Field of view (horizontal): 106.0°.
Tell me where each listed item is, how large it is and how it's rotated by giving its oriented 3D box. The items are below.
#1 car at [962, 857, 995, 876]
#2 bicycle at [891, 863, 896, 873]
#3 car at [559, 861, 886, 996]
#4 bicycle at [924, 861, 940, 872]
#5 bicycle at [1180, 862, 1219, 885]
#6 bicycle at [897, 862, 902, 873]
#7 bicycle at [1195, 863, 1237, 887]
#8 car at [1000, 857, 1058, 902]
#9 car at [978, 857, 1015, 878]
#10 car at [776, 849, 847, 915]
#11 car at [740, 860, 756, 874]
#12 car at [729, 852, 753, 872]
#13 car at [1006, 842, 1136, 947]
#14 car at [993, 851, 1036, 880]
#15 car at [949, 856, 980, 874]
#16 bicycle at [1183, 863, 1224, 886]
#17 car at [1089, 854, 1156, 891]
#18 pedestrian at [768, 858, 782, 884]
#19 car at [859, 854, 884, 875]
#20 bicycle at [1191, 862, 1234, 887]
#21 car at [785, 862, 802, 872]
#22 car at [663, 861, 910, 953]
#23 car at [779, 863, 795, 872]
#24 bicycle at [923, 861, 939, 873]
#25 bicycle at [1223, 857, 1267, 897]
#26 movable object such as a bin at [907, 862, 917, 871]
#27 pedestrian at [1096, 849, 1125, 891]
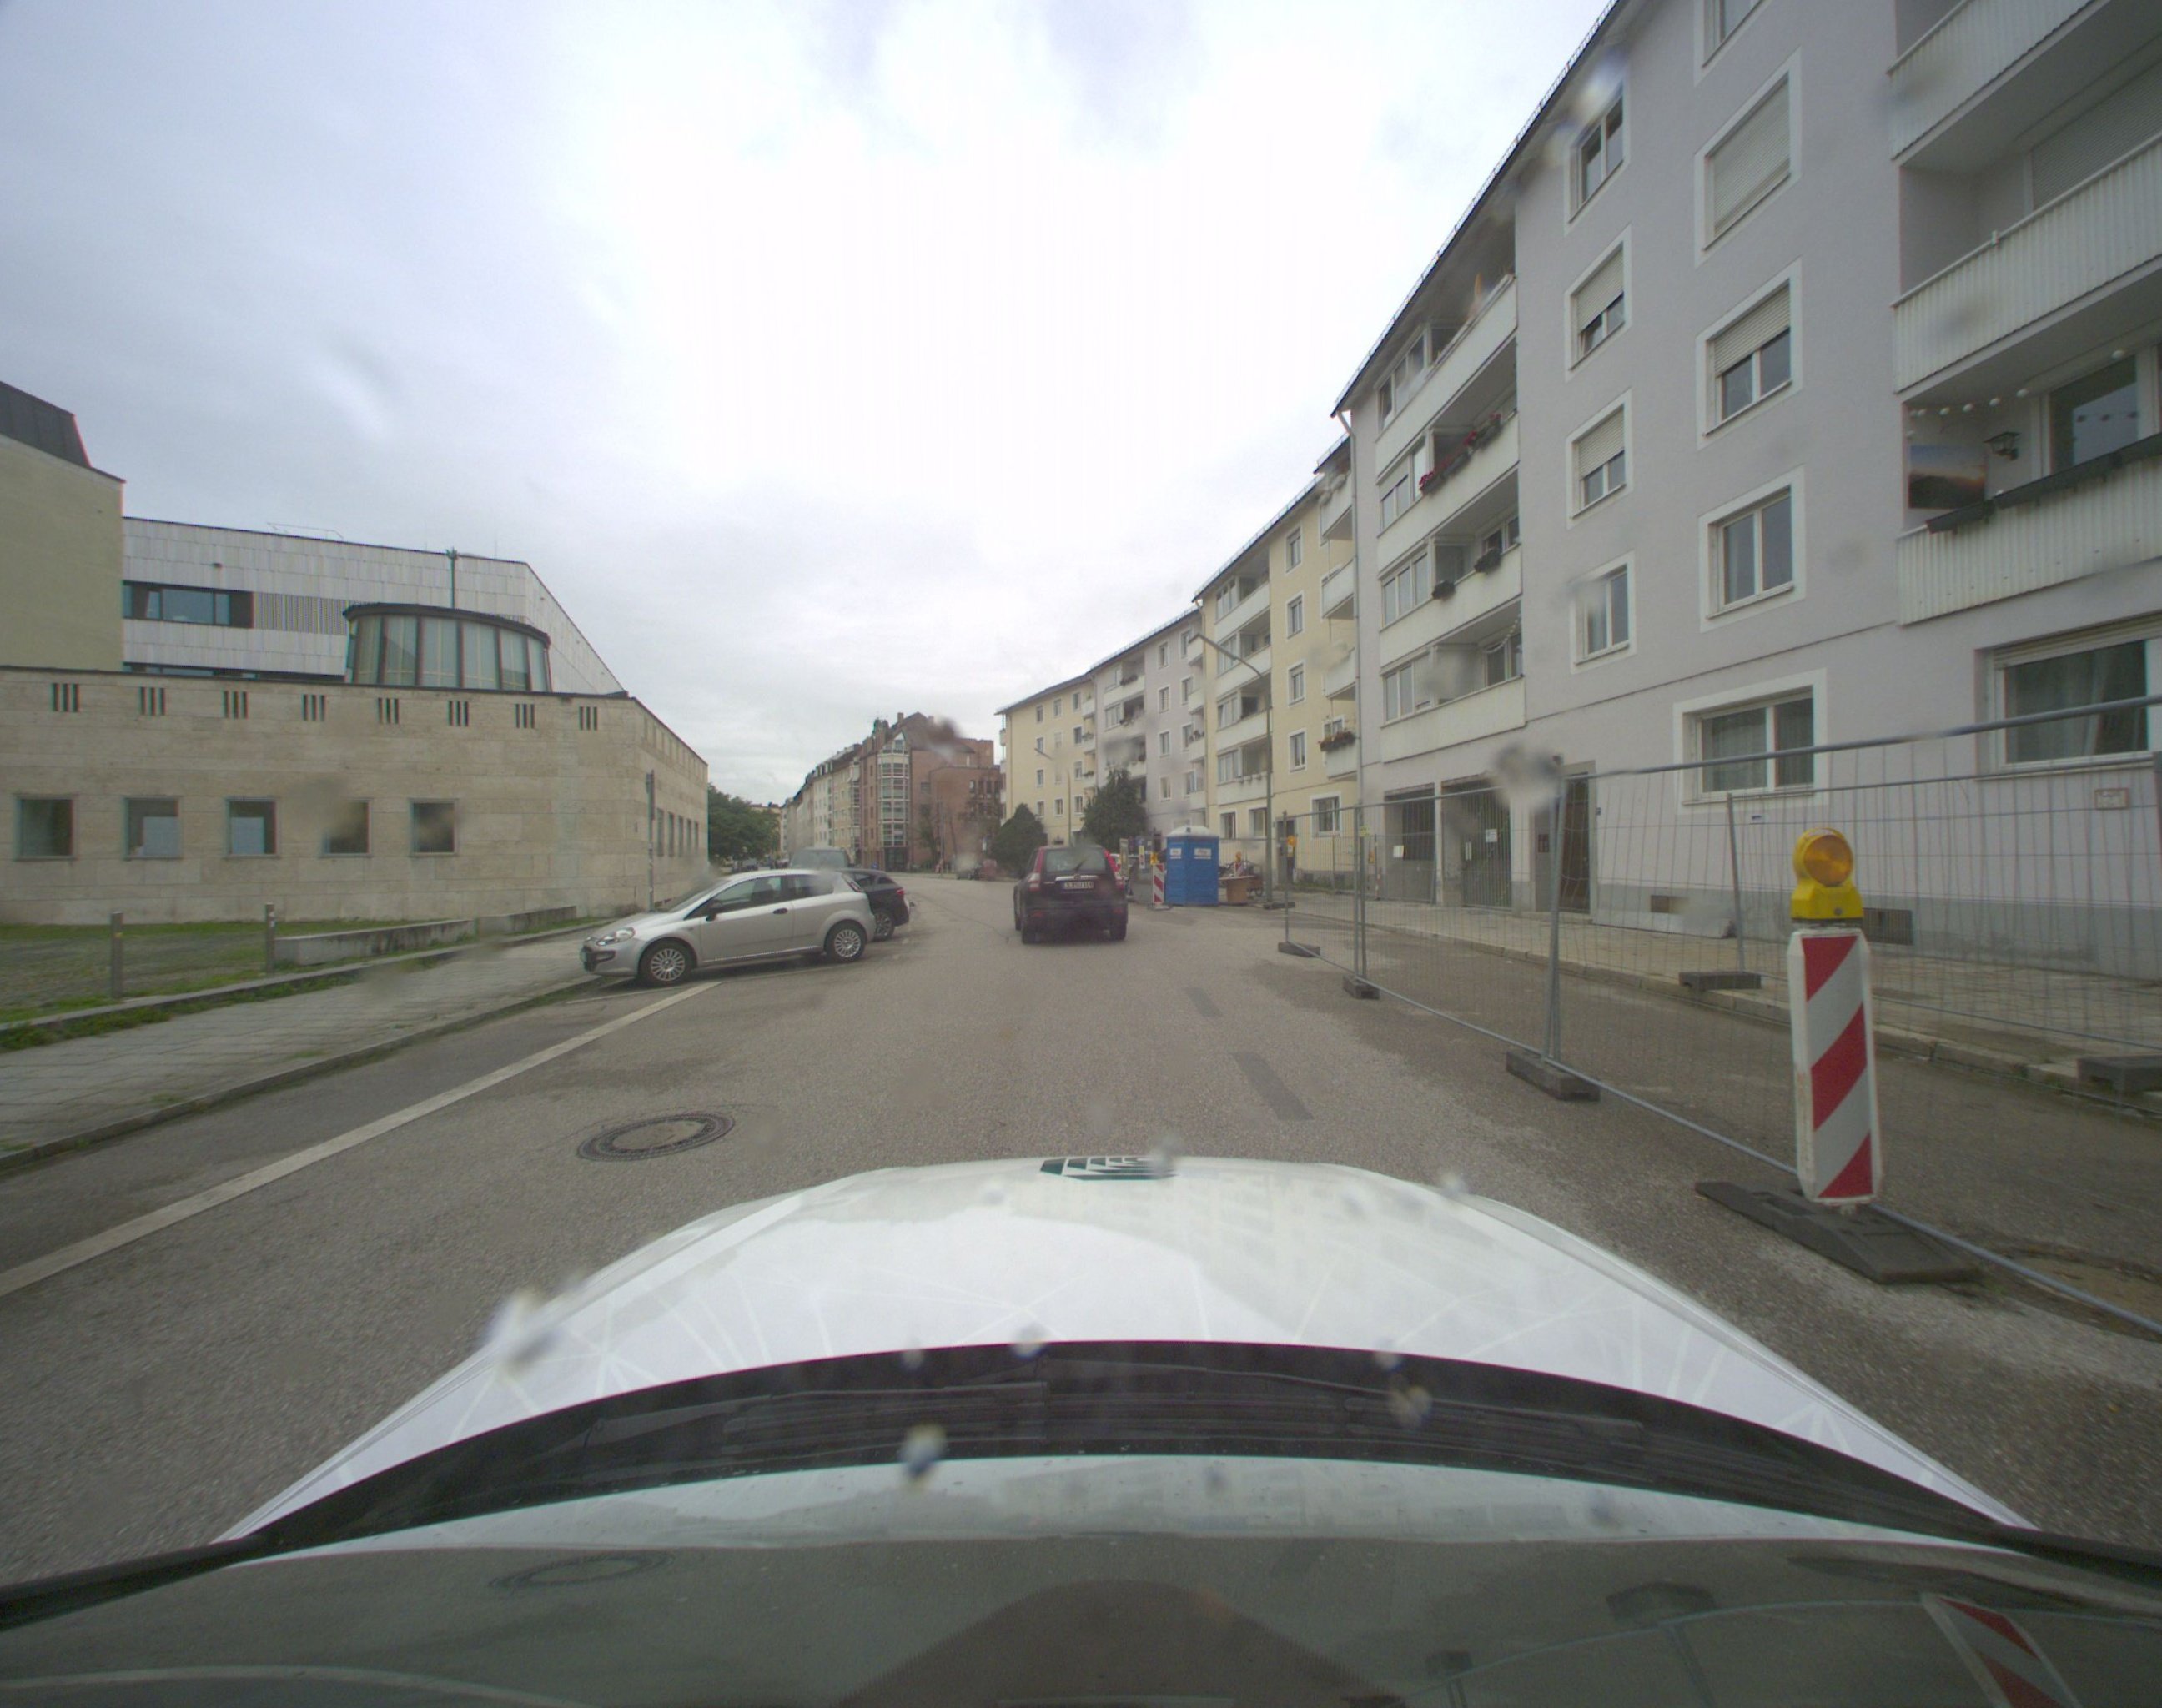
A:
[{"bbox_3d":[-7.825,0.942,61.926,1.704,1.389,3.575,0,0,-22],"label":"car"},{"bbox_3d":[-24.008,1.789,104.216,0.553,1.288,1.749,0,0,-18],"label":"bicycle"},{"bbox_3d":[-5.213,0.994,12.122,4.107,1.481,1.665,-3,-2,-39],"label":"car"},{"bbox_3d":[-17.113,1.459,93.505,1.759,1.288,0.549,0,0,-19],"label":"bicycle"},{"bbox_3d":[5.977,0.981,41.189,1.866,1.091,0.644,0,0,-10],"label":"bicycle"},{"bbox_3d":[-23.302,1.734,104.595,0.553,1.288,1.749,0,0,-18],"label":"bicycle"},{"bbox_3d":[6.343,0.981,38.356,1.866,1.091,0.563,0,0,-10],"label":"bicycle"},{"bbox_3d":[-1.924,0.851,28.975,1.679,1.481,4.073,0,0,-9],"label":"car"},{"bbox_3d":[-6.052,0.956,57.893,1.704,1.389,3.575,0,0,-22],"label":"car"},{"bbox_3d":[-7.739,0.734,23.719,1.682,1.707,4.490,0,0,-15],"label":"car"},{"bbox_3d":[-44.249,1.665,108.328,1.925,1.746,4.741,0,0,-23],"label":"car"},{"bbox_3d":[-30.411,0.686,72.890,1.925,1.746,4.741,0,0,-23],"label":"car"},{"bbox_3d":[-0.328,0.649,15.036,1.890,1.647,3.979,0,0,-8],"label":"car"},{"bbox_3d":[-4.441,0.720,53.735,1.731,1.878,3.971,0,0,-22],"label":"car"},{"bbox_3d":[-9.458,0.892,65.813,1.704,1.389,3.575,0,0,-22],"label":"car"},{"bbox_3d":[5.882,0.979,39.136,1.866,1.091,0.644,0,0,-10],"label":"bicycle"},{"bbox_3d":[1.743,0.757,35.388,1.728,1.483,3.978,0,0,-16],"label":"car"},{"bbox_3d":[-20.541,1.118,54.689,0.752,1.703,0.921,0,0,-17],"label":"pedestrian"},{"bbox_3d":[-19.487,0.940,75.585,1.718,1.946,3.969,0,0,-23],"label":"car"},{"bbox_3d":[6.048,0.944,37.443,1.866,1.091,0.563,0,0,-10],"label":"bicycle"},{"bbox_3d":[-45.996,2.123,130.430,1.819,1.472,4.077,0,0,-31],"label":"car"},{"bbox_3d":[-5.503,0.892,15.447,4.105,1.481,1.665,0,0,-37],"label":"car"},{"bbox_3d":[-48.624,2.187,134.770,1.819,1.472,4.077,0,0,-31],"label":"car"},{"bbox_3d":[-17.319,1.487,94.136,1.759,1.288,0.549,0,0,-19],"label":"bicycle"},{"bbox_3d":[5.931,0.793,29.613,0.966,1.388,2.560,0,0,-4],"label":"bicycle"},{"bbox_3d":[-20.568,1.477,99.132,0.969,1.085,1.970,0,0,-21],"label":"movable object such as a bin"},{"bbox_3d":[1.203,0.648,33.606,0.931,1.703,0.745,0,0,-37],"label":"pedestrian"}]
